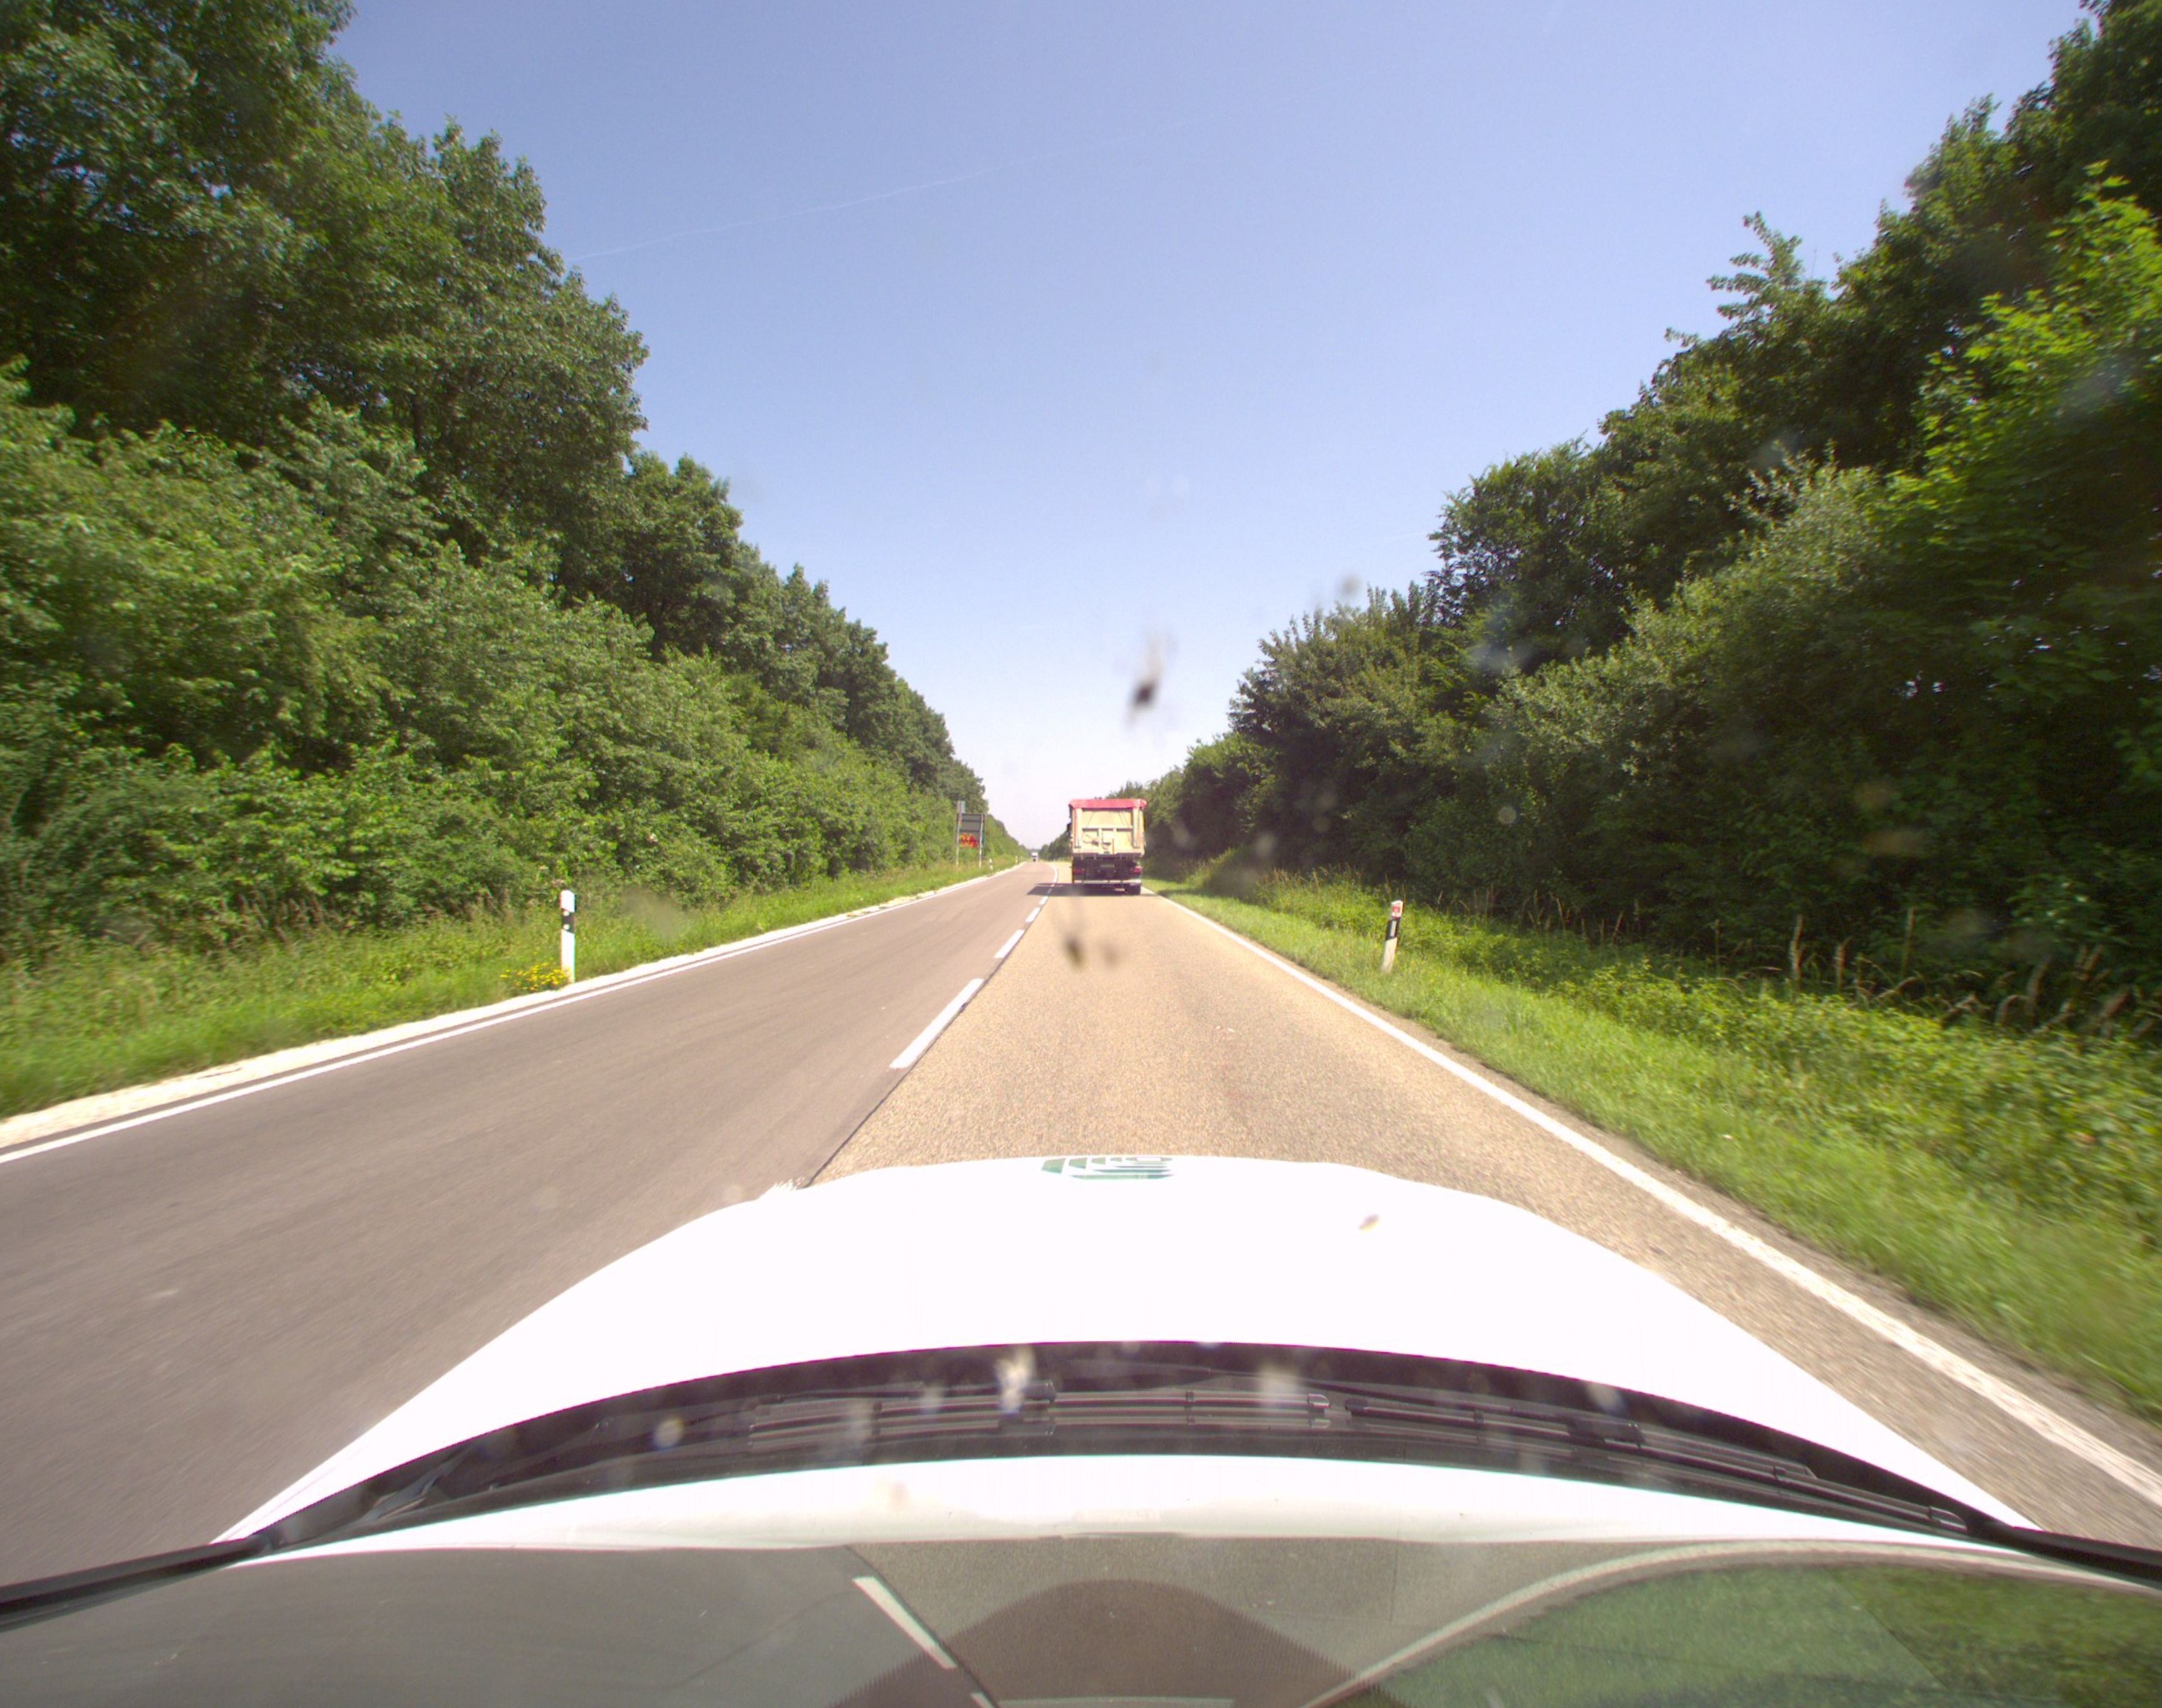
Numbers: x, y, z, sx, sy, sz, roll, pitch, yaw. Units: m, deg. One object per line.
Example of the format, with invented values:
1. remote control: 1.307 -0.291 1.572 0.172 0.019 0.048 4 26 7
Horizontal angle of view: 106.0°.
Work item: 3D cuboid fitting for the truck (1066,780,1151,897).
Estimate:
1. truck: 0.860 -0.558 33.572 2.885 3.962 11.927 0 0 -1
